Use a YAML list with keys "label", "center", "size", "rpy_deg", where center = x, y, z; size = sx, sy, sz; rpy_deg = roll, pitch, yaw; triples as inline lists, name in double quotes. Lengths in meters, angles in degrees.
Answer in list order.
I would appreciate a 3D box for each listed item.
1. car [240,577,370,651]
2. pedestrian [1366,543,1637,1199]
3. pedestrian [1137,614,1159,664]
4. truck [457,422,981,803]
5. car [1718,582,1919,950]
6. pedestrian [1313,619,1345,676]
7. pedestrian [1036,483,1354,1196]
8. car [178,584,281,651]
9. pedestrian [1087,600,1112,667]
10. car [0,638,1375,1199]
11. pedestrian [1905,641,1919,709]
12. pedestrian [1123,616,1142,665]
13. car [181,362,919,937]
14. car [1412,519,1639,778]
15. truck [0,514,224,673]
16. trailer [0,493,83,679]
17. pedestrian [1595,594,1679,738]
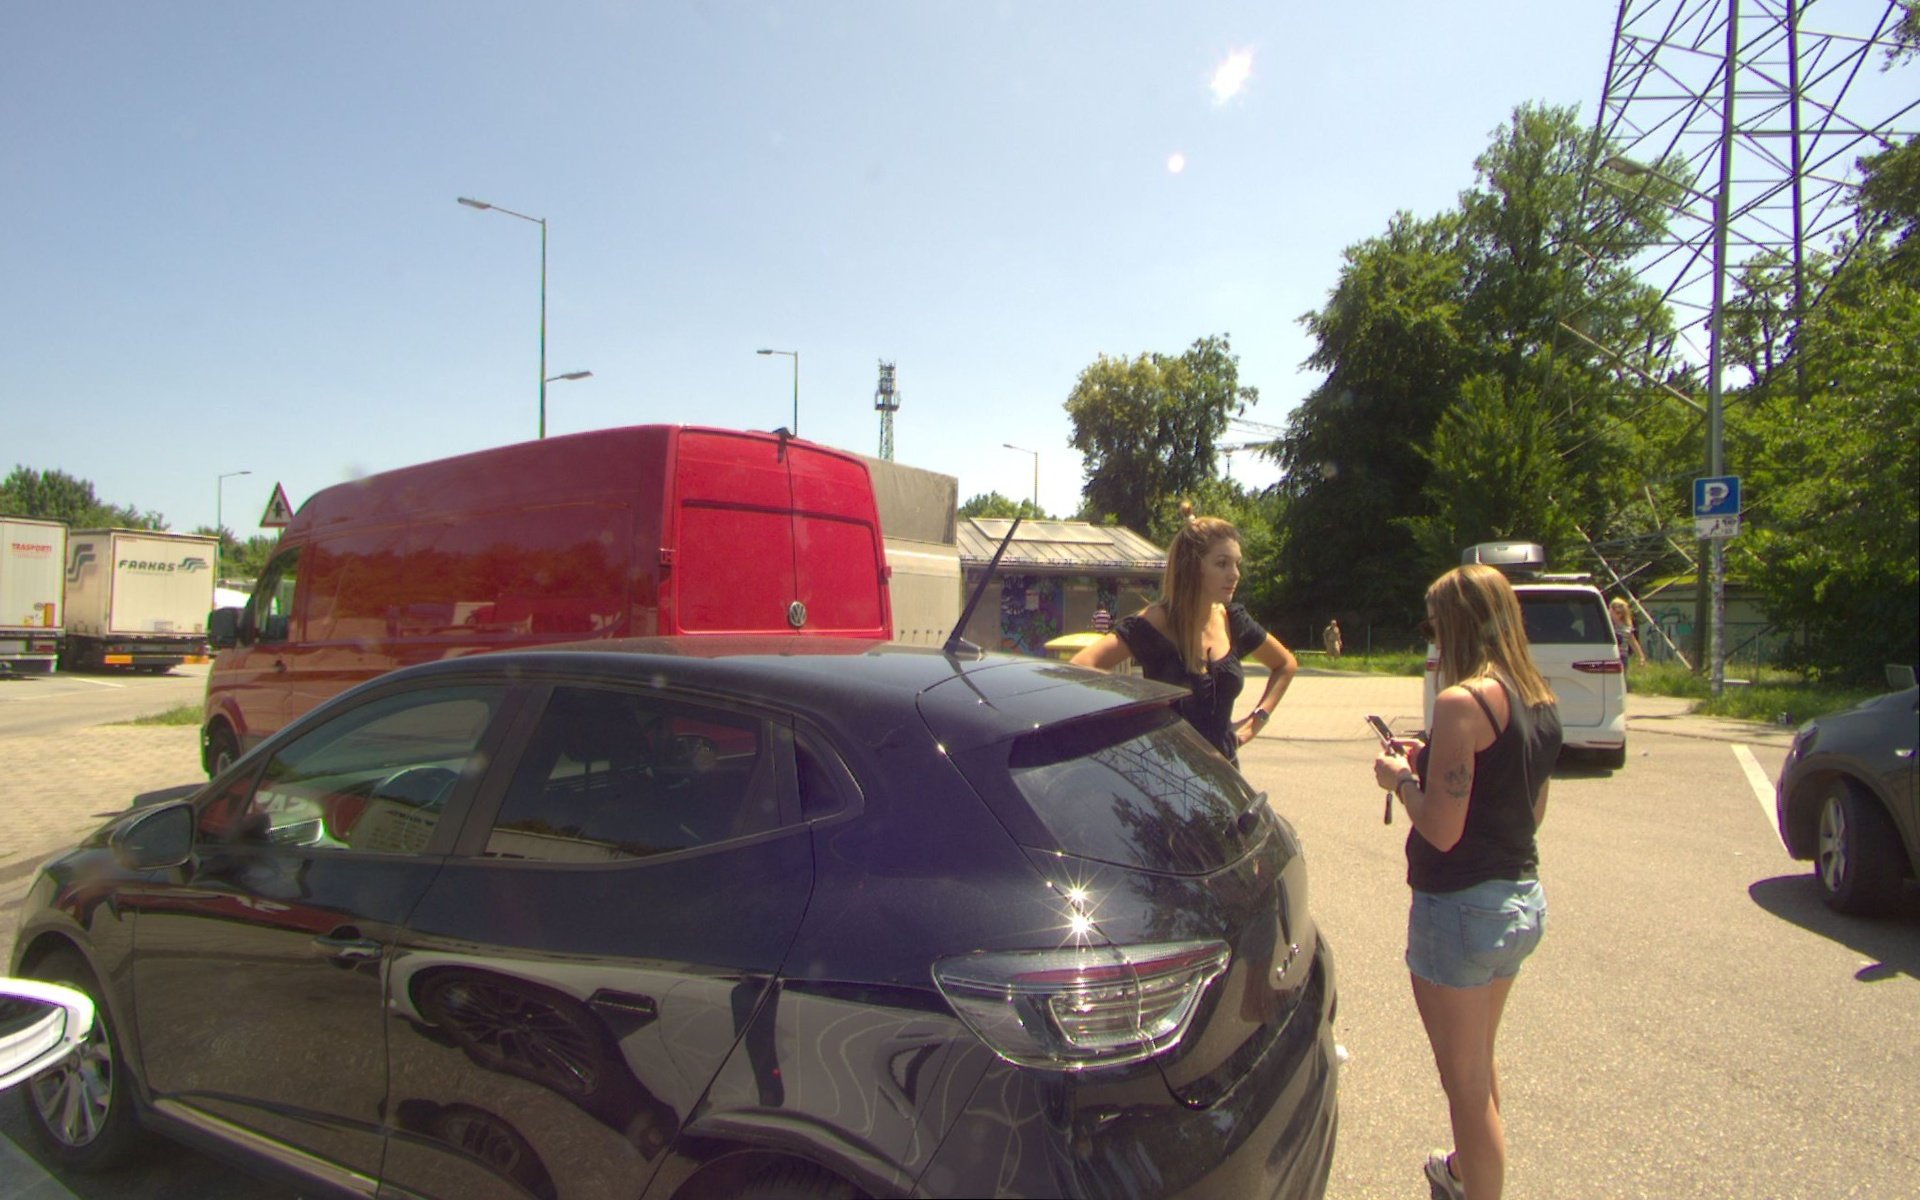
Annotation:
- label: "car"
  center: [-29.454, 0.604, 44.949]
  size: [6.259, 3.114, 2.495]
  rpy_deg: [0, -1, 32]
- label: "pedestrian"
  center: [1.212, 0.704, 2.269]
  size: [0.478, 1.615, 0.501]
  rpy_deg: [0, 0, 29]
- label: "pedestrian"
  center: [5.614, 1.154, 29.941]
  size: [0.521, 1.478, 0.576]
  rpy_deg: [0, 0, 23]
- label: "truck"
  center: [-2.453, 0.179, 9.899]
  size: [4.751, 2.863, 2.514]
  rpy_deg: [-1, -2, 34]
- label: "car"
  center: [5.100, 0.733, 3.653]
  size: [1.803, 1.638, 4.168]
  rpy_deg: [1, -1, 6]
- label: "pedestrian"
  center: [13.470, 1.734, 36.604]
  size: [0.955, 2.039, 0.829]
  rpy_deg: [0, -1, 10]
- label: "pedestrian"
  center: [0.744, 0.645, 3.116]
  size: [0.901, 1.884, 0.484]
  rpy_deg: [1, 0, -37]
- label: "car"
  center: [-29.926, 0.757, 41.031]
  size: [3.943, 2.632, 2.111]
  rpy_deg: [-1, -2, 32]
- label: "pedestrian"
  center: [3.770, 0.913, 27.051]
  size: [0.520, 1.783, 0.651]
  rpy_deg: [0, 0, 23]
- label: "car"
  center: [-0.859, 0.848, 2.813]
  size: [3.628, 1.476, 1.776]
  rpy_deg: [-1, -2, 27]
- label: "pedestrian"
  center: [17.121, 1.306, 17.443]
  size: [0.694, 1.178, 0.787]
  rpy_deg: [-1, -1, 22]
- label: "pedestrian"
  center: [4.841, 1.122, 28.102]
  size: [0.439, 1.362, 0.477]
  rpy_deg: [0, 0, 23]
- label: "car"
  center: [-3.385, 0.257, 7.327]
  size: [6.298, 2.668, 1.988]
  rpy_deg: [0, -1, 36]
- label: "car"
  center: [6.657, 0.513, 11.909]
  size: [1.901, 2.401, 4.954]
  rpy_deg: [1, -1, 29]
- label: "truck"
  center: [-27.083, -0.024, 31.200]
  size: [11.800, 4.279, 2.582]
  rpy_deg: [-1, -2, 32]
- label: "trailer"
  center: [-28.562, -0.341, 27.855]
  size: [12.642, 4.510, 2.677]
  rpy_deg: [0, -1, 32]
- label: "pedestrian"
  center: [9.277, 0.886, 13.747]
  size: [0.763, 1.903, 0.838]
  rpy_deg: [-1, -1, 21]
